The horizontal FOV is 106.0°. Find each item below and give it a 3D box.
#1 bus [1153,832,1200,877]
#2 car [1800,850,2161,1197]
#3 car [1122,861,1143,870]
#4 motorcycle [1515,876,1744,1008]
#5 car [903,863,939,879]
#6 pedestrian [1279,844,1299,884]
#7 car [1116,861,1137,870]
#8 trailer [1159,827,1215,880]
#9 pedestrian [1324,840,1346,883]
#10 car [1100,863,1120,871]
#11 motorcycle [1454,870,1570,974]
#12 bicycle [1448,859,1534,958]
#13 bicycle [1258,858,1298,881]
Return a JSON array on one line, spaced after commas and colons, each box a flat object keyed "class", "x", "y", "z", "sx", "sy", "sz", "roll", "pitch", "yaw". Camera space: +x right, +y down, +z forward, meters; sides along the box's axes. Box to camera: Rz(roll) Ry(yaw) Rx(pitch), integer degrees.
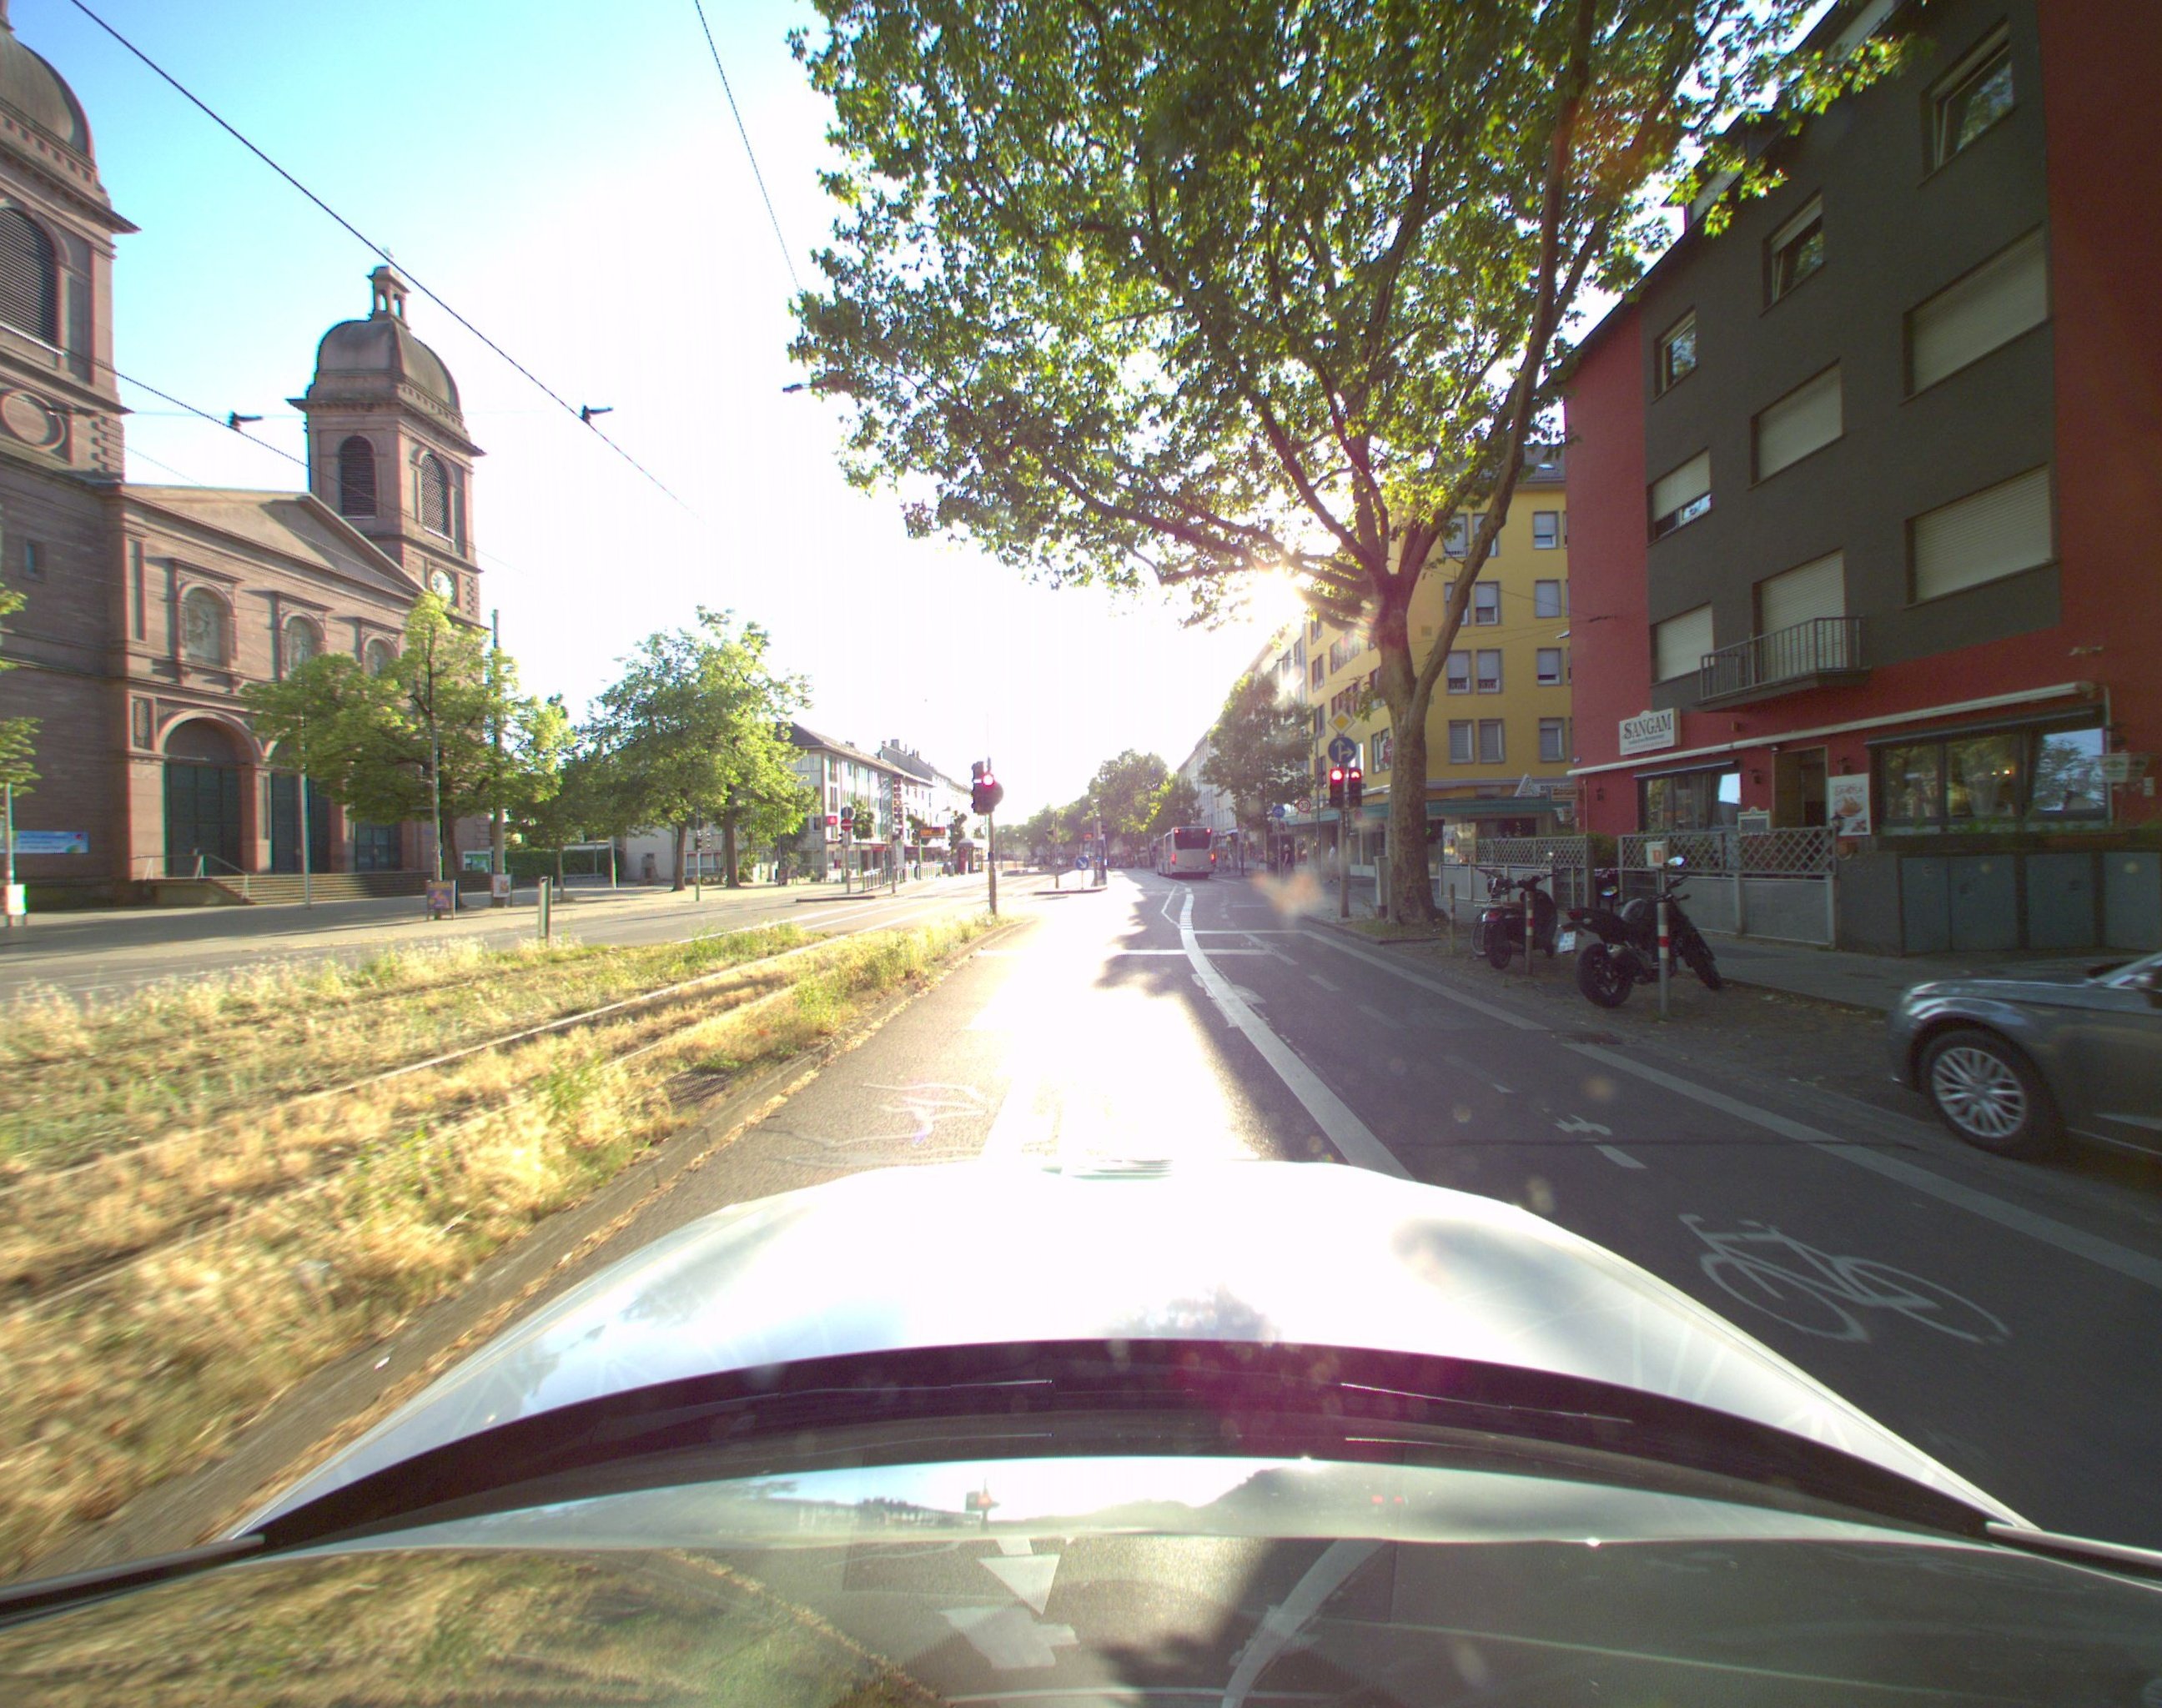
[{"class": "bus", "x": 7.041, "y": 0.039, "z": 61.253, "sx": 2.801, "sy": 3.101, "sz": 9.099, "roll": 1, "pitch": 0, "yaw": 2}, {"class": "car", "x": 5.296, "y": 0.702, "z": 2.942, "sx": 1.703, "sy": 1.396, "sz": 4.324, "roll": -2, "pitch": 0, "yaw": 3}, {"class": "car", "x": 10.556, "y": 2.428, "z": 166.957, "sx": 3.911, "sy": 1.699, "sz": 1.817, "roll": -1, "pitch": 0, "yaw": -27}, {"class": "motorcycle", "x": 5.582, "y": 0.833, "z": 8.285, "sx": 2.214, "sy": 1.063, "sz": 0.762, "roll": -3, "pitch": 1, "yaw": -21}, {"class": "car", "x": -19.491, "y": 2.032, "z": 99.280, "sx": 4.006, "sy": 1.816, "sz": 1.984, "roll": -1, "pitch": 0, "yaw": -24}, {"class": "pedestrian", "x": 9.208, "y": 0.440, "z": 36.057, "sx": 0.677, "sy": 1.770, "sz": 0.687, "roll": -1, "pitch": 0, "yaw": 3}, {"class": "car", "x": 9.544, "y": 2.393, "z": 170.620, "sx": 3.911, "sy": 1.699, "sz": 1.817, "roll": -1, "pitch": 0, "yaw": -27}, {"class": "trailer", "x": 6.651, "y": -0.009, "z": 52.286, "sx": 2.801, "sy": 3.110, "sz": 8.799, "roll": 1, "pitch": 0, "yaw": 2}, {"class": "pedestrian", "x": 10.619, "y": 0.320, "z": 34.076, "sx": 0.677, "sy": 1.770, "sz": 0.687, "roll": -1, "pitch": 0, "yaw": 3}, {"class": "car", "x": 6.274, "y": 2.687, "z": 175.011, "sx": 3.911, "sy": 1.596, "sz": 1.676, "roll": -1, "pitch": 0, "yaw": -27}, {"class": "motorcycle", "x": 5.568, "y": 0.816, "z": 10.463, "sx": 2.009, "sy": 1.152, "sz": 0.594, "roll": -2, "pitch": 0, "yaw": -40}, {"class": "bicycle", "x": 5.989, "y": 0.740, "z": 11.831, "sx": 0.687, "sy": 1.203, "sz": 1.859, "roll": 0, "pitch": 3, "yaw": 40}, {"class": "bicycle", "x": 9.591, "y": 0.733, "z": 39.665, "sx": 1.766, "sy": 1.021, "sz": 0.694, "roll": -3, "pitch": -1, "yaw": 1}]
